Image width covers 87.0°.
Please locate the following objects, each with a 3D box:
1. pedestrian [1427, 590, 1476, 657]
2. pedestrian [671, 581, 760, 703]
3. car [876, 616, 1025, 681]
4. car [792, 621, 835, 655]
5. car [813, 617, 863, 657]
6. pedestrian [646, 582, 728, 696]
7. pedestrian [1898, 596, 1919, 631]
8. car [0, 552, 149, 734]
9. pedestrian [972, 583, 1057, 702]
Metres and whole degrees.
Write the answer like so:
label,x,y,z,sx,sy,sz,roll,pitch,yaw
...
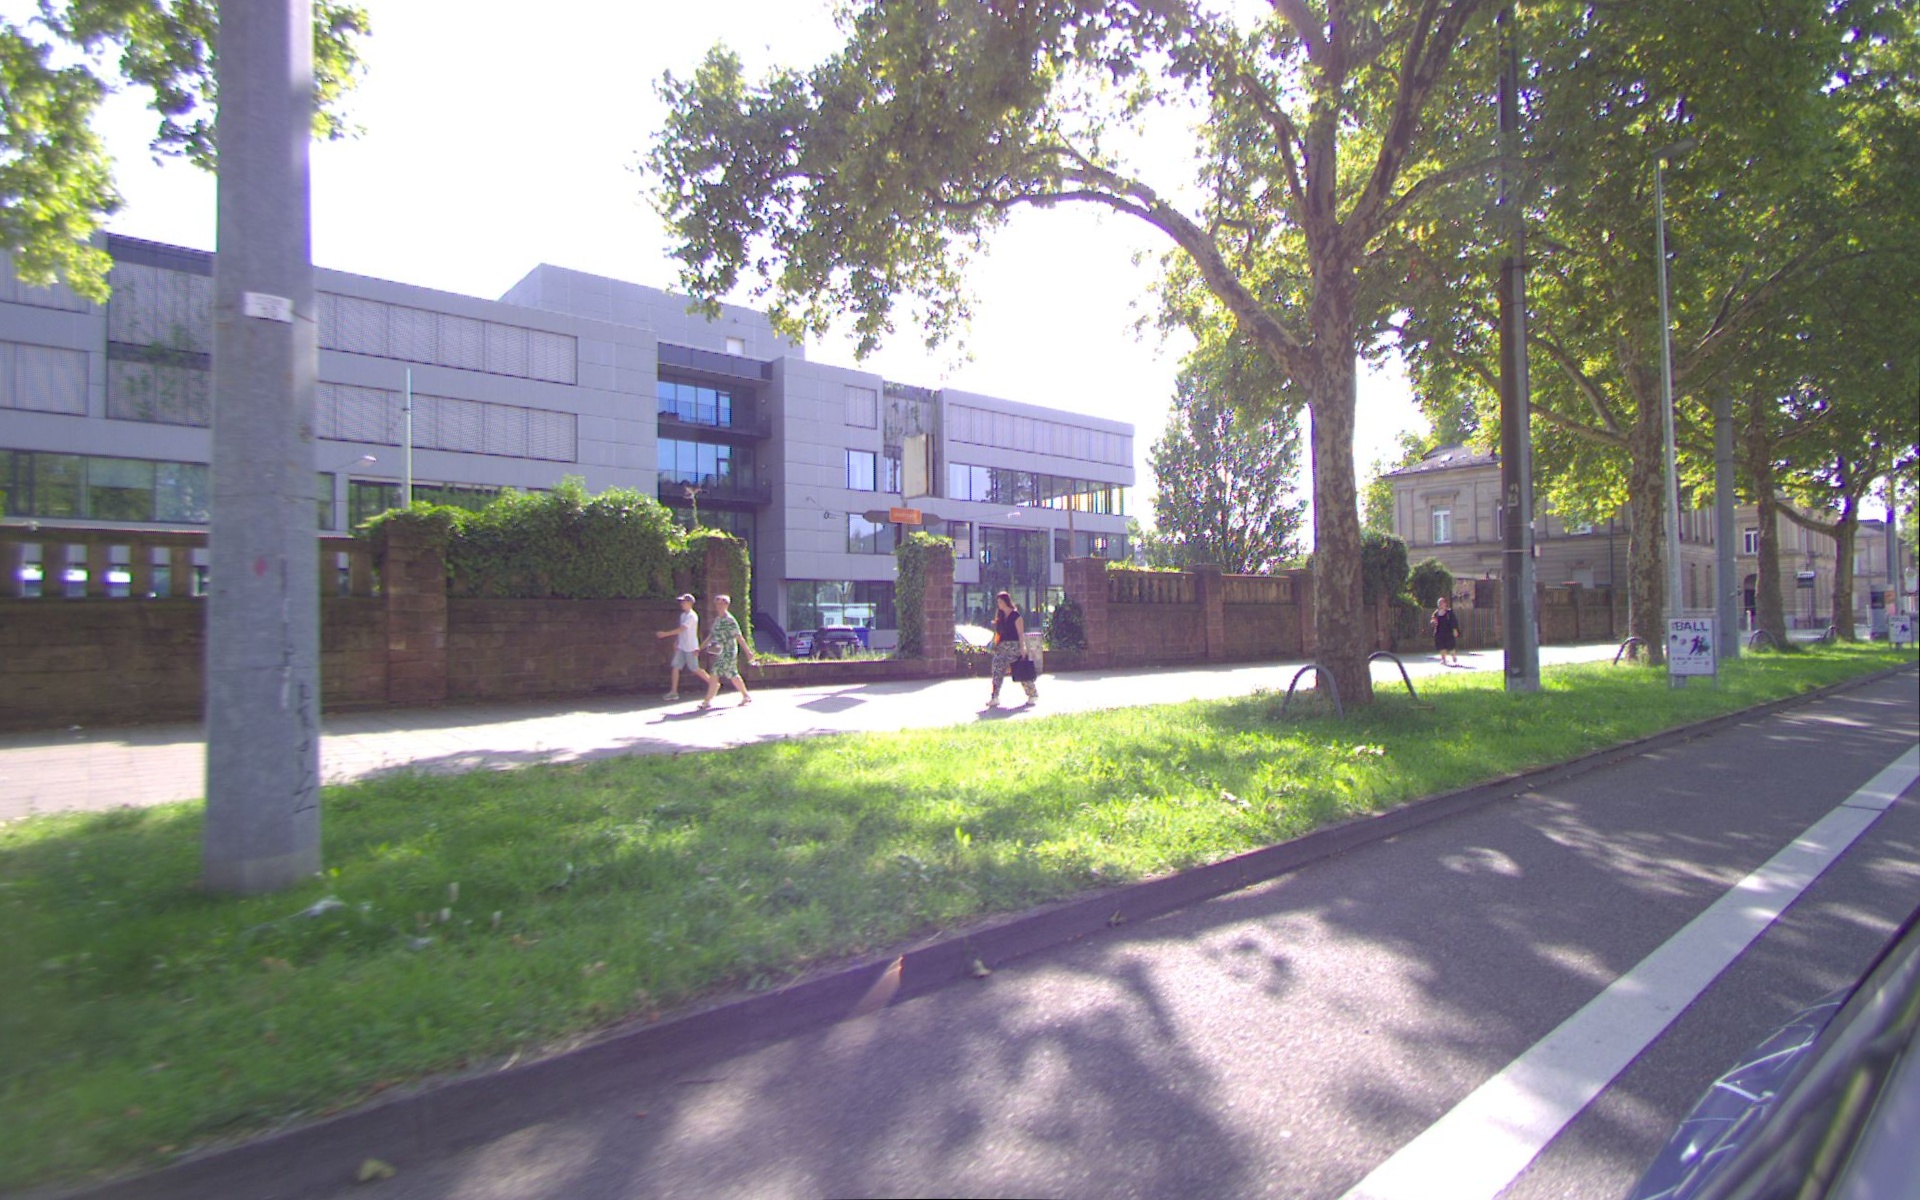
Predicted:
label,x,y,z,sx,sy,sz,roll,pitch,yaw
pedestrian,12.770,0.604,26.306,0.994,1.708,0.820,1,-1,-41
pedestrian,-3.397,0.553,14.071,0.930,1.624,0.807,0,0,-40
car,-0.353,1.261,27.741,1.734,1.611,4.343,0,-1,-40
car,-7.134,1.810,49.101,1.941,1.527,4.569,0,-1,-9
car,-5.361,1.554,44.062,2.040,1.605,4.569,0,-1,-9
pedestrian,-4.067,0.551,15.077,0.930,1.624,0.807,0,0,-40
pedestrian,46.115,0.652,49.123,0.683,1.718,0.642,-1,-2,28
car,-13.529,0.638,15.158,2.020,2.348,4.669,0,-2,-40
pedestrian,0.788,0.589,14.692,0.930,1.657,0.807,0,0,-40
